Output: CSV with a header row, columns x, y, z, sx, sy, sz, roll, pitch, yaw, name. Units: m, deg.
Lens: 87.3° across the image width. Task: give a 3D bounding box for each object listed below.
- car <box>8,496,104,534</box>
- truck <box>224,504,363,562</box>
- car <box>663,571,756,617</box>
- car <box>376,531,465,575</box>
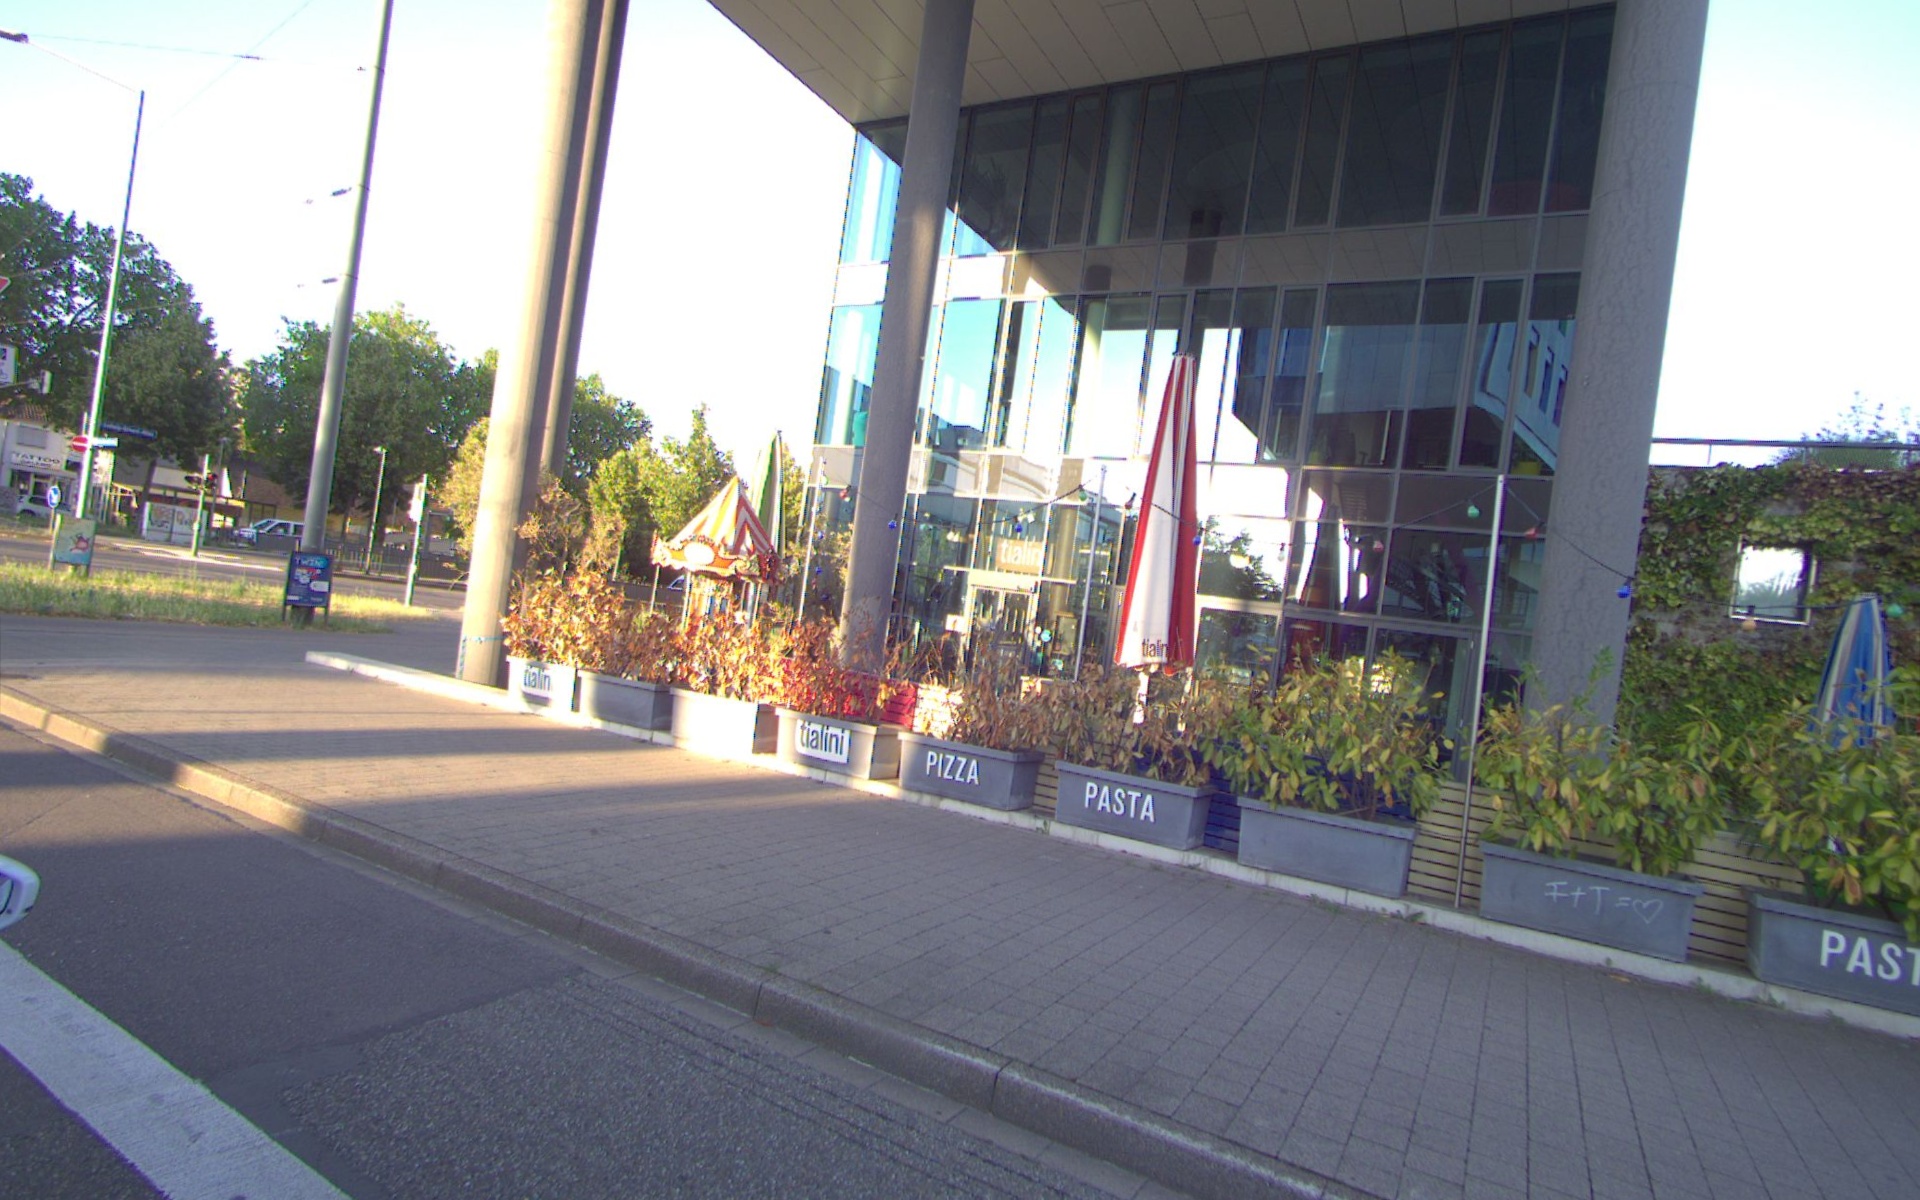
x,y,z,sx,sy,sz,roll,pitch,yaw,name
-50.321,-4.703,56.065,1.641,1.456,3.736,6,-2,41,car
-34.670,-3.439,52.520,2.034,2.078,5.567,7,-2,32,truck
-19.595,-0.420,79.146,2.765,2.666,6.931,6,-2,32,car
-42.612,-3.683,79.548,2.197,2.581,5.594,7,-2,39,car
